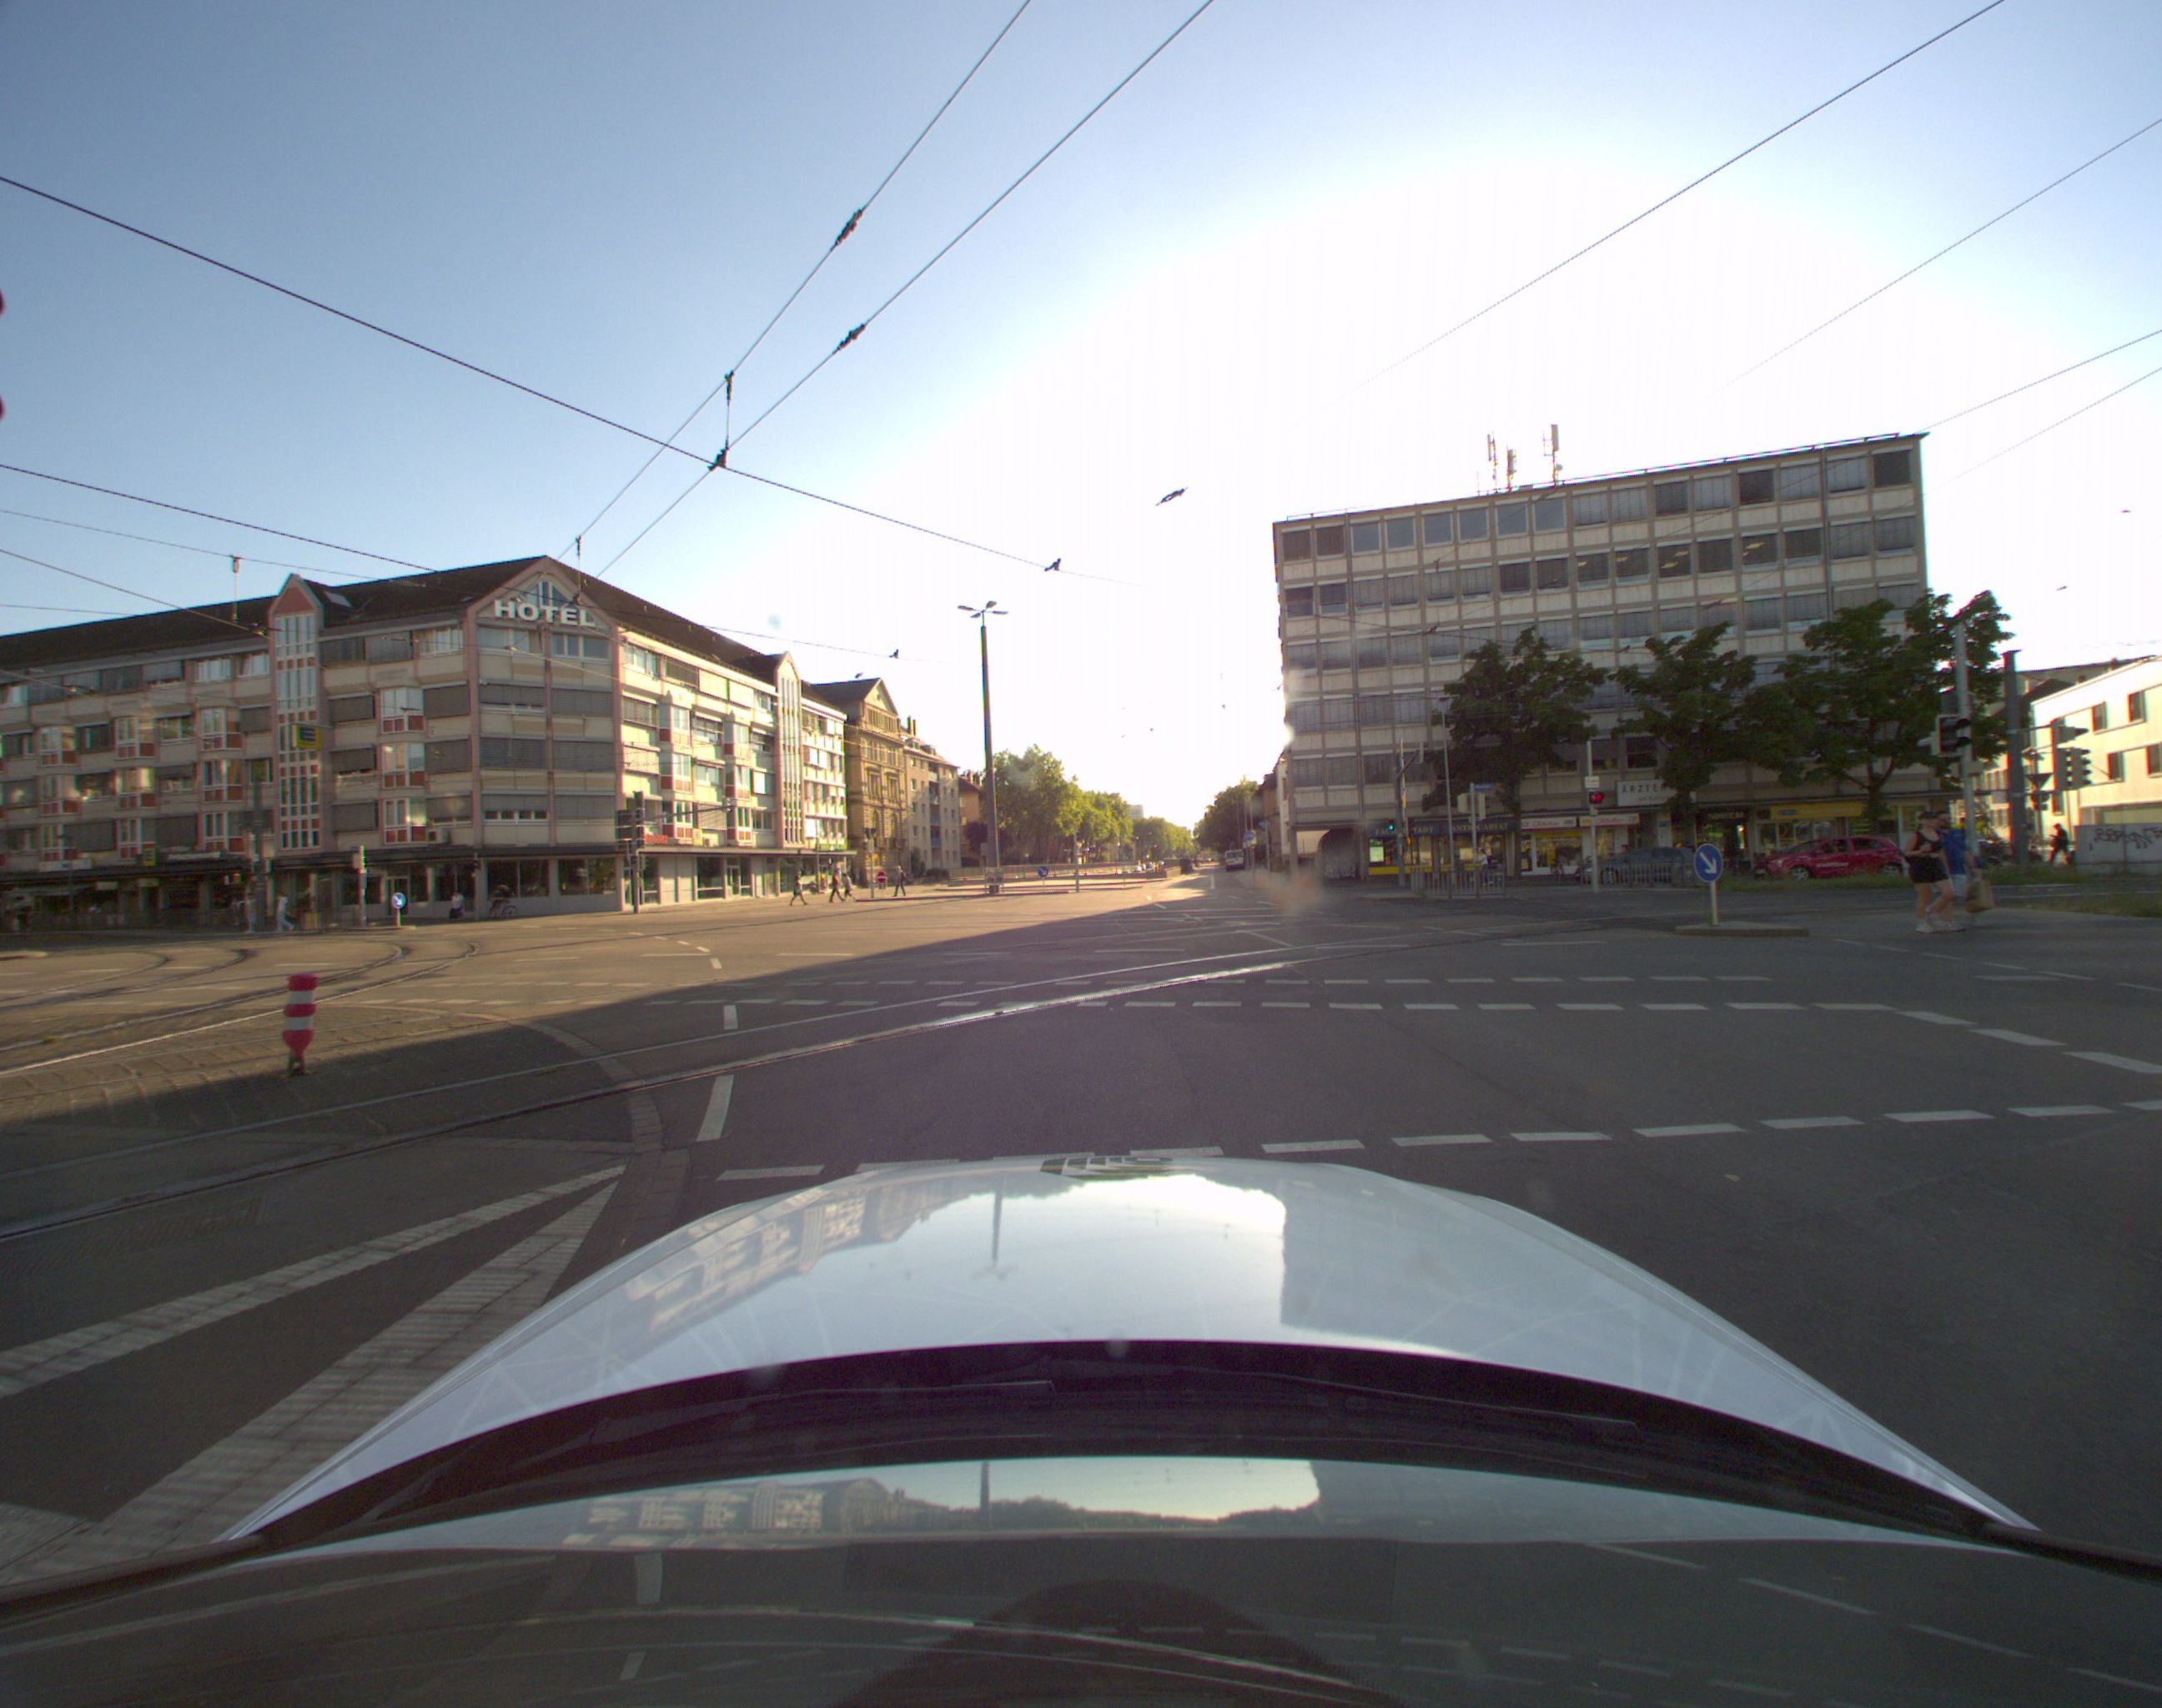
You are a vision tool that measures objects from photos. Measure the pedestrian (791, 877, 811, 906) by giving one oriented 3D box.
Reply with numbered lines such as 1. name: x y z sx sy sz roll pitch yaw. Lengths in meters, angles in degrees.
1. pedestrian: -14.600 1.938 42.486 0.701 1.453 0.857 -1 -1 4

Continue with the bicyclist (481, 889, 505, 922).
1. bicyclist: -29.987 2.625 41.530 0.634 1.596 0.660 -1 2 12

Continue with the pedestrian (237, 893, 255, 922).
1. pedestrian: -48.317 3.098 47.112 0.613 1.635 0.597 0 -1 -36

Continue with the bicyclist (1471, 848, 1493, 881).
1. bicyclist: 17.583 0.462 35.691 0.675 1.424 0.672 -1 -1 8

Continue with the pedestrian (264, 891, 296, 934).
1. pedestrian: -34.282 2.505 34.873 0.509 1.764 1.002 -1 -1 -11

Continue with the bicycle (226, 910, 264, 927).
1. bicycle: -47.175 3.646 45.971 2.057 0.917 0.503 -3 -1 14

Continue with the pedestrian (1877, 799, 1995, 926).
1. pedestrian: 12.683 0.127 12.104 0.699 1.793 1.032 0 -1 -29

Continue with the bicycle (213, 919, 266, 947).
1. bicycle: -43.646 4.094 42.248 2.081 1.366 0.584 -1 1 0

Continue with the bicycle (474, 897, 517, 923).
1. bicycle: -29.952 2.846 41.692 0.634 1.145 1.776 -1 2 12

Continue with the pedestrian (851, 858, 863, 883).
1. pedestrian: -21.808 1.643 79.286 0.924 2.398 0.960 -1 -1 -2

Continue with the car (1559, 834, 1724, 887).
1. car: 17.994 0.222 26.343 3.959 1.618 1.851 -1 -1 13

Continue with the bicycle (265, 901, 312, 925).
1. bicycle: -44.227 3.287 45.439 2.308 1.227 0.732 -3 -1 14

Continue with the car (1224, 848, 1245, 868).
1. car: 17.354 0.456 92.116 2.271 2.172 4.847 -1 -1 11

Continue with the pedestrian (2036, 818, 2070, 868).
1. pedestrian: 40.072 -0.455 33.572 0.619 2.014 0.719 -1 -1 27

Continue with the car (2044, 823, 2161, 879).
1. car: 32.565 -0.095 25.067 3.981 1.618 1.840 -1 -1 -6

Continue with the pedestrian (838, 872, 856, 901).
1. pedestrian: -12.393 1.717 43.207 0.856 1.465 0.681 0 -6 -20

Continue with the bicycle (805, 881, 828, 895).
1. bicycle: -21.759 2.760 67.010 0.447 1.071 2.104 -1 -1 26

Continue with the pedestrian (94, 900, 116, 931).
1. pedestrian: -59.167 3.723 49.366 0.671 1.778 0.825 -2 -1 38

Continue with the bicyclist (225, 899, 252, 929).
1. bicyclist: -43.678 3.127 42.220 0.733 1.481 0.566 -1 1 1

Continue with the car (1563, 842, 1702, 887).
1. car: 21.191 0.402 31.481 4.039 1.618 1.851 -1 -1 13

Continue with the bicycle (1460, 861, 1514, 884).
1. bicycle: 17.753 0.810 35.656 2.013 0.940 0.672 -1 -1 7

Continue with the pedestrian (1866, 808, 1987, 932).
1. pedestrian: 12.058 0.220 11.636 0.699 1.682 1.032 0 -1 -29

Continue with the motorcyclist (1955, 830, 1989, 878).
1. motorcyclist: 28.048 -0.001 25.647 0.457 1.509 0.537 -1 -1 13

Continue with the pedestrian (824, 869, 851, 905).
1. pedestrian: -13.364 1.805 44.724 1.189 1.883 0.857 -1 1 4

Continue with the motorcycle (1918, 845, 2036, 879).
1. motorcycle: 28.158 0.250 25.628 2.644 1.001 0.537 -1 -1 13

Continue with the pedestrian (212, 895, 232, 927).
1. pedestrian: -50.721 3.358 48.095 0.597 1.852 0.613 -1 -1 18

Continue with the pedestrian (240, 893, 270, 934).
1. pedestrian: -35.796 2.578 35.296 0.624 1.694 0.861 0 -1 -23

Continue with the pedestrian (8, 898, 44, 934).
1. pedestrian: -50.222 2.955 38.766 0.678 1.660 0.782 -1 -1 3

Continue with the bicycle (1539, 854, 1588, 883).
1. bicycle: 21.434 0.642 36.220 0.746 1.143 2.643 -1 2 3

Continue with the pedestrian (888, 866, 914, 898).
1. pedestrian: -10.069 1.547 45.566 1.189 1.731 0.857 -1 -1 4

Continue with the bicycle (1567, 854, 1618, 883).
1. bicycle: 22.619 0.631 36.094 0.746 1.143 2.643 -1 2 3

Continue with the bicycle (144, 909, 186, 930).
1. bicycle: -54.622 3.893 48.595 0.480 1.119 1.653 -1 -1 9

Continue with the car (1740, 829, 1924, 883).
1. car: 24.132 0.084 26.342 3.959 1.618 1.851 -1 -1 13

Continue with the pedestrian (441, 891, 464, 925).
1. pedestrian: -31.832 2.734 41.248 0.716 1.662 0.630 -3 -1 -15

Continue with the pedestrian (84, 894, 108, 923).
1. pedestrian: -57.540 3.173 47.580 0.544 1.645 0.756 -1 -1 18
